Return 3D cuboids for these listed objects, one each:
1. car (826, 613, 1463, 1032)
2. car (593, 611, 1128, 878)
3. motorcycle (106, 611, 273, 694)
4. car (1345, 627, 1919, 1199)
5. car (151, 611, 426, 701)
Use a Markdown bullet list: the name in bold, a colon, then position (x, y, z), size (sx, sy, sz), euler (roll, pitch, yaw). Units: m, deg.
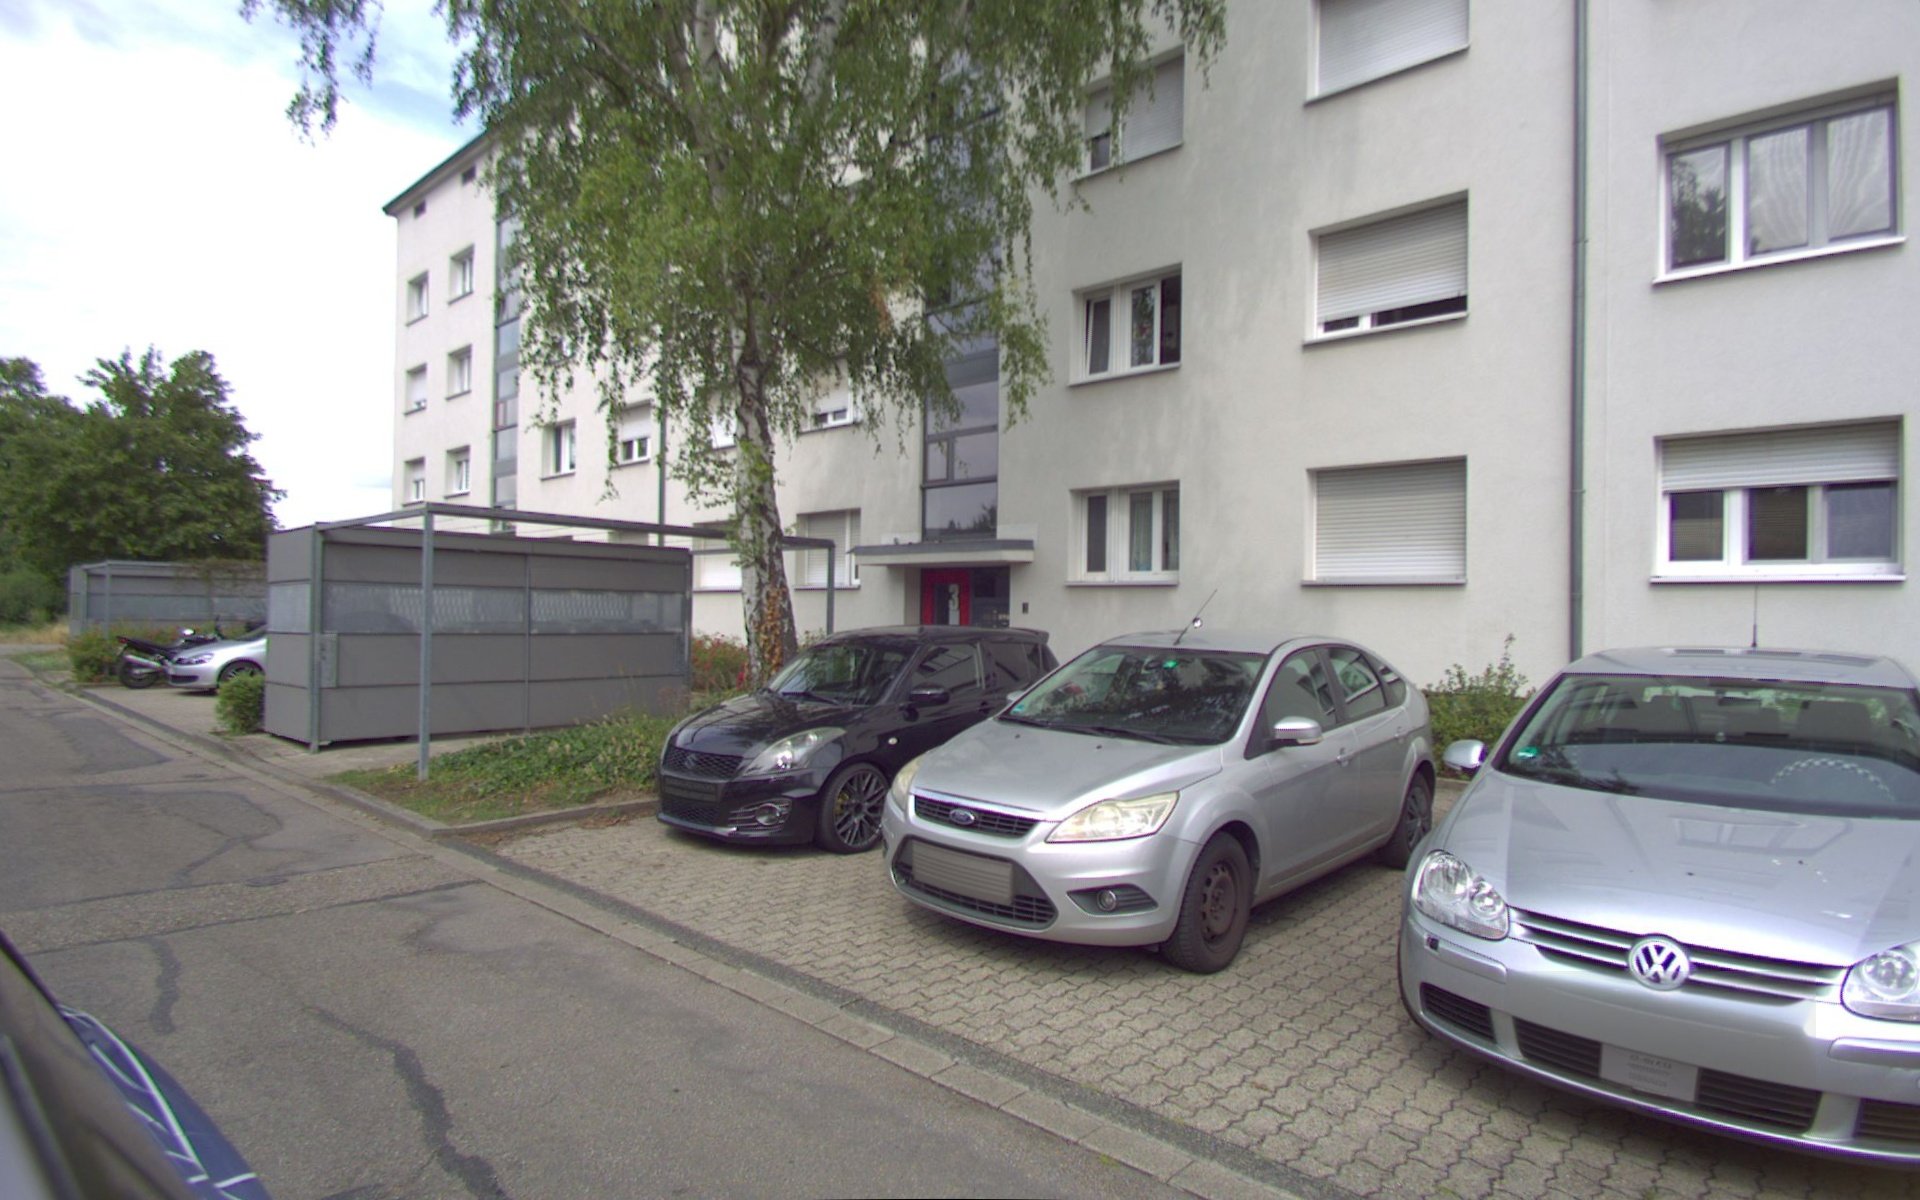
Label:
- **car**: position (1.351, 0.892, 5.814), size (1.781, 1.516, 4.008), euler (0, -2, 42)
- **car**: position (-0.533, 0.910, 7.913), size (1.781, 1.516, 4.008), euler (0, -2, 42)
- **motorcycle**: position (-14.606, 1.014, 19.256), size (0.714, 1.475, 2.352), euler (0, -4, 42)
- **car**: position (3.197, 0.895, 4.067), size (1.781, 1.475, 4.008), euler (0, -2, 42)
- **car**: position (-12.549, 1.062, 19.082), size (1.903, 1.497, 3.943), euler (0, -4, 43)
